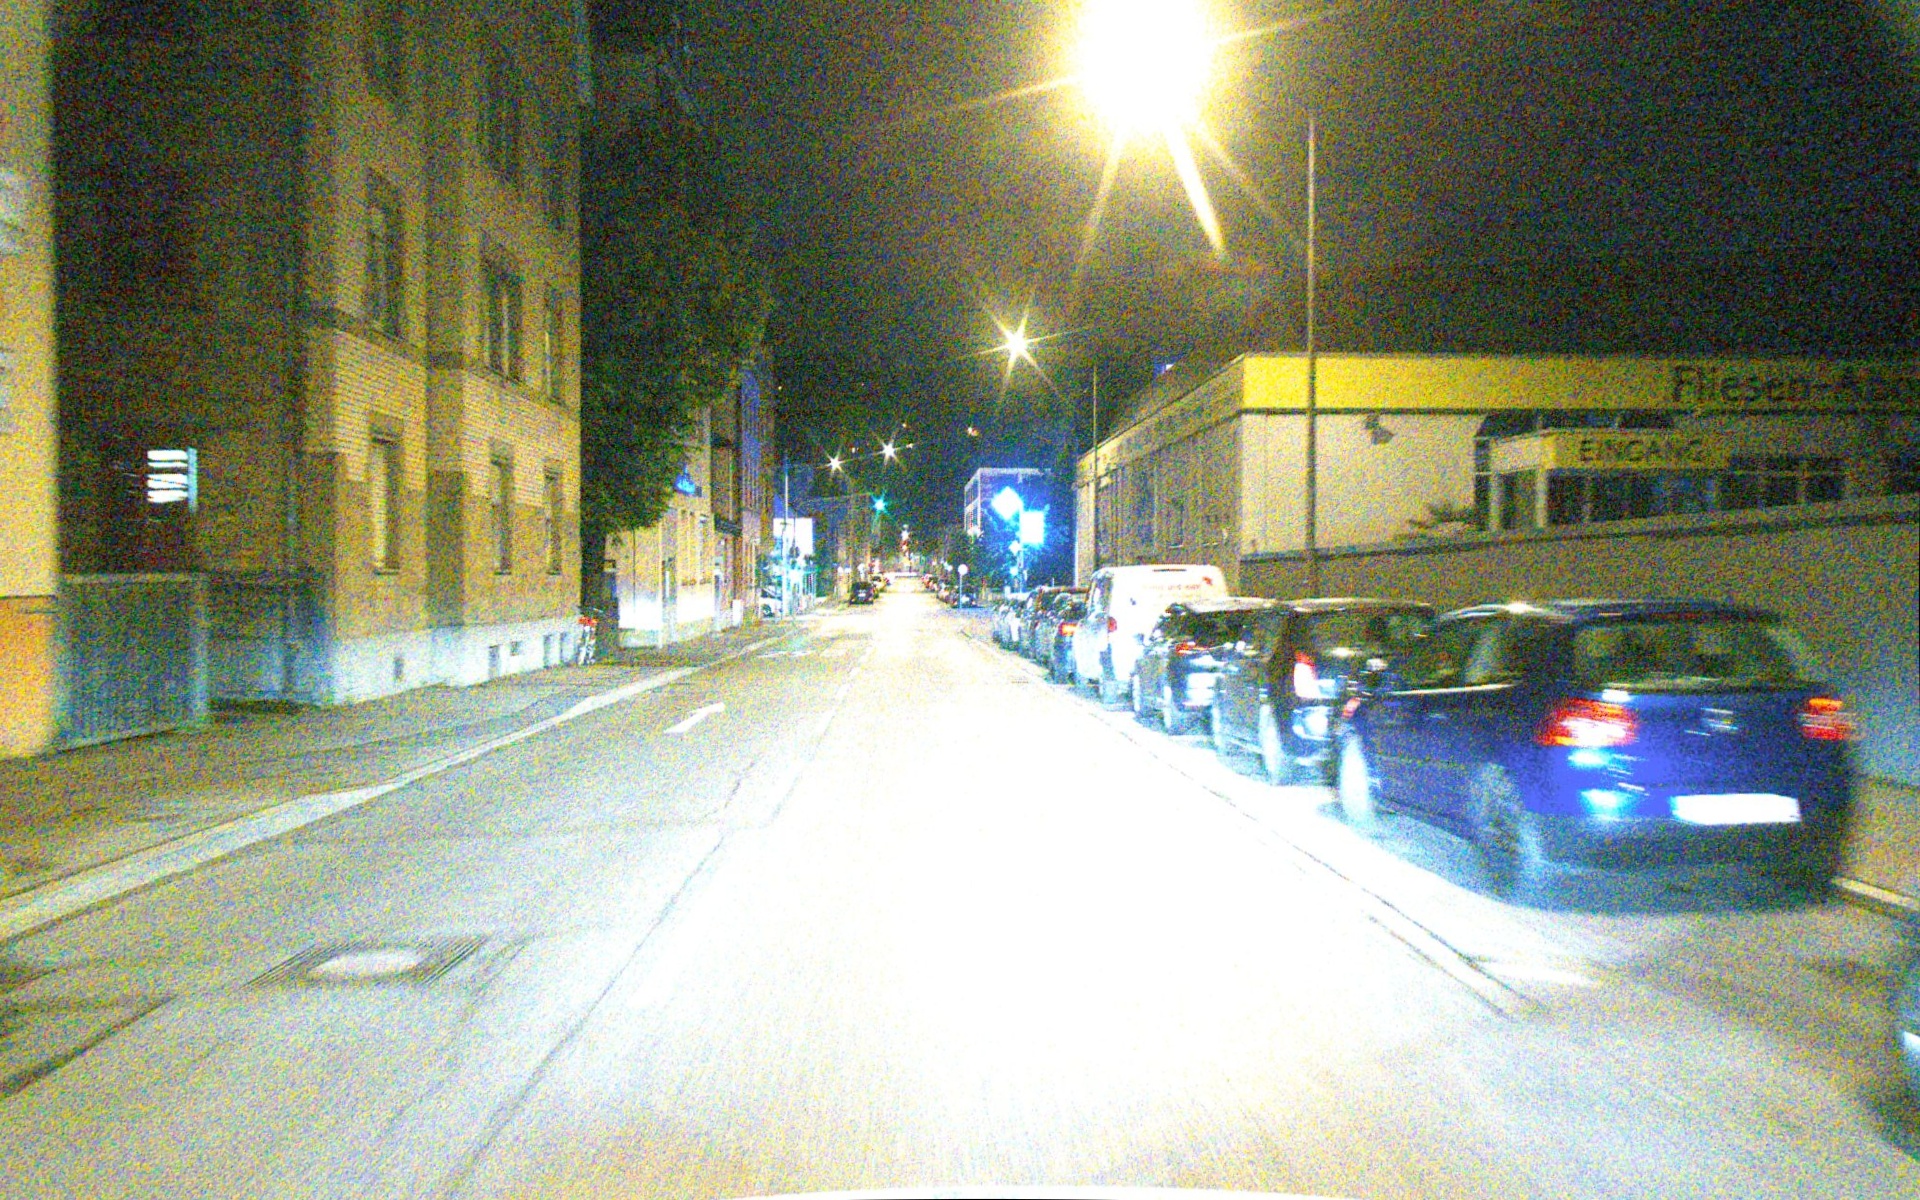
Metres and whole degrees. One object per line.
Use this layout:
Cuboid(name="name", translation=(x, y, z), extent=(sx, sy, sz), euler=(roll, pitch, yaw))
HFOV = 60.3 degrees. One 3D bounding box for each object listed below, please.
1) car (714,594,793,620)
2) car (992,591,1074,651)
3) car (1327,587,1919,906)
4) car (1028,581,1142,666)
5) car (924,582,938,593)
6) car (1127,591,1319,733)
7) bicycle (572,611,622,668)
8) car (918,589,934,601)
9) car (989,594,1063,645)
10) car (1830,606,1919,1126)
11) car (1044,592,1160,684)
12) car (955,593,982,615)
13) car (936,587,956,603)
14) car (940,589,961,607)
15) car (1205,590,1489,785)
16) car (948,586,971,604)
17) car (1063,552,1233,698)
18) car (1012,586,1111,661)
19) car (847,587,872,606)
Cuboid(name="car", translation=(-11.840, 0.384, 95.154), extent=(4.350, 1.475, 1.999), euler=(0, 0, -2))
Cuboid(name="car", translation=(1.952, 0.565, 45.592), extent=(1.740, 1.571, 4.542), euler=(0, 0, -4))
Cuboid(name="car", translation=(3.483, 0.672, 9.509), extent=(1.743, 1.451, 3.890), euler=(0, 0, -2))
Cuboid(name="car", translation=(2.561, 0.438, 34.840), extent=(1.787, 1.616, 4.626), euler=(-1, 1, -3))
Cuboid(name="car", translation=(-4.185, -1.746, 238.637), extent=(1.953, 1.546, 4.000), euler=(0, 0, 0))
Cuboid(name="car", translation=(2.964, 0.656, 19.341), extent=(1.562, 1.492, 3.890), euler=(0, 0, -1))
Cuboid(name="bicycle", translation=(-7.008, 0.755, 31.999), extent=(0.607, 1.070, 1.721), euler=(0, 0, -1))
Cuboid(name="car", translation=(-4.454, -0.682, 215.633), extent=(1.953, 1.546, 4.000), euler=(0, 0, 0))
Cuboid(name="car", translation=(2.015, 0.596, 51.832), extent=(1.823, 1.515, 4.542), euler=(0, 0, -4))
Cuboid(name="car", translation=(3.577, 0.738, 2.857), extent=(1.742, 1.451, 4.480), euler=(0, 0, -1))
Cuboid(name="car", translation=(2.476, 0.630, 29.735), extent=(1.779, 1.452, 4.190), euler=(-2, 1, 1))
Cuboid(name="car", translation=(0.598, 0.270, 119.525), extent=(1.953, 1.543, 4.000), euler=(1, 1, 0))
Cuboid(name="car", translation=(-1.405, -0.521, 168.322), extent=(1.953, 1.546, 4.000), euler=(0, 0, 0))
Cuboid(name="car", translation=(-0.861, -0.166, 149.730), extent=(1.953, 1.546, 4.000), euler=(0, 0, 0))
Cuboid(name="car", translation=(3.250, 0.676, 14.568), extent=(1.562, 1.492, 3.718), euler=(0, 0, -1))
Cuboid(name="car", translation=(-0.077, -0.397, 143.444), extent=(1.953, 1.546, 4.000), euler=(0, 0, 0))
Cuboid(name="car", translation=(2.706, 0.312, 24.851), extent=(1.764, 1.907, 4.771), euler=(-2, 1, -2))
Cuboid(name="car", translation=(2.376, 0.520, 39.819), extent=(1.787, 1.651, 4.454), euler=(-1, 1, -4))
Cuboid(name="car", translation=(-8.331, -0.274, 137.563), extent=(1.953, 1.528, 3.998), euler=(0, 0, -2))
